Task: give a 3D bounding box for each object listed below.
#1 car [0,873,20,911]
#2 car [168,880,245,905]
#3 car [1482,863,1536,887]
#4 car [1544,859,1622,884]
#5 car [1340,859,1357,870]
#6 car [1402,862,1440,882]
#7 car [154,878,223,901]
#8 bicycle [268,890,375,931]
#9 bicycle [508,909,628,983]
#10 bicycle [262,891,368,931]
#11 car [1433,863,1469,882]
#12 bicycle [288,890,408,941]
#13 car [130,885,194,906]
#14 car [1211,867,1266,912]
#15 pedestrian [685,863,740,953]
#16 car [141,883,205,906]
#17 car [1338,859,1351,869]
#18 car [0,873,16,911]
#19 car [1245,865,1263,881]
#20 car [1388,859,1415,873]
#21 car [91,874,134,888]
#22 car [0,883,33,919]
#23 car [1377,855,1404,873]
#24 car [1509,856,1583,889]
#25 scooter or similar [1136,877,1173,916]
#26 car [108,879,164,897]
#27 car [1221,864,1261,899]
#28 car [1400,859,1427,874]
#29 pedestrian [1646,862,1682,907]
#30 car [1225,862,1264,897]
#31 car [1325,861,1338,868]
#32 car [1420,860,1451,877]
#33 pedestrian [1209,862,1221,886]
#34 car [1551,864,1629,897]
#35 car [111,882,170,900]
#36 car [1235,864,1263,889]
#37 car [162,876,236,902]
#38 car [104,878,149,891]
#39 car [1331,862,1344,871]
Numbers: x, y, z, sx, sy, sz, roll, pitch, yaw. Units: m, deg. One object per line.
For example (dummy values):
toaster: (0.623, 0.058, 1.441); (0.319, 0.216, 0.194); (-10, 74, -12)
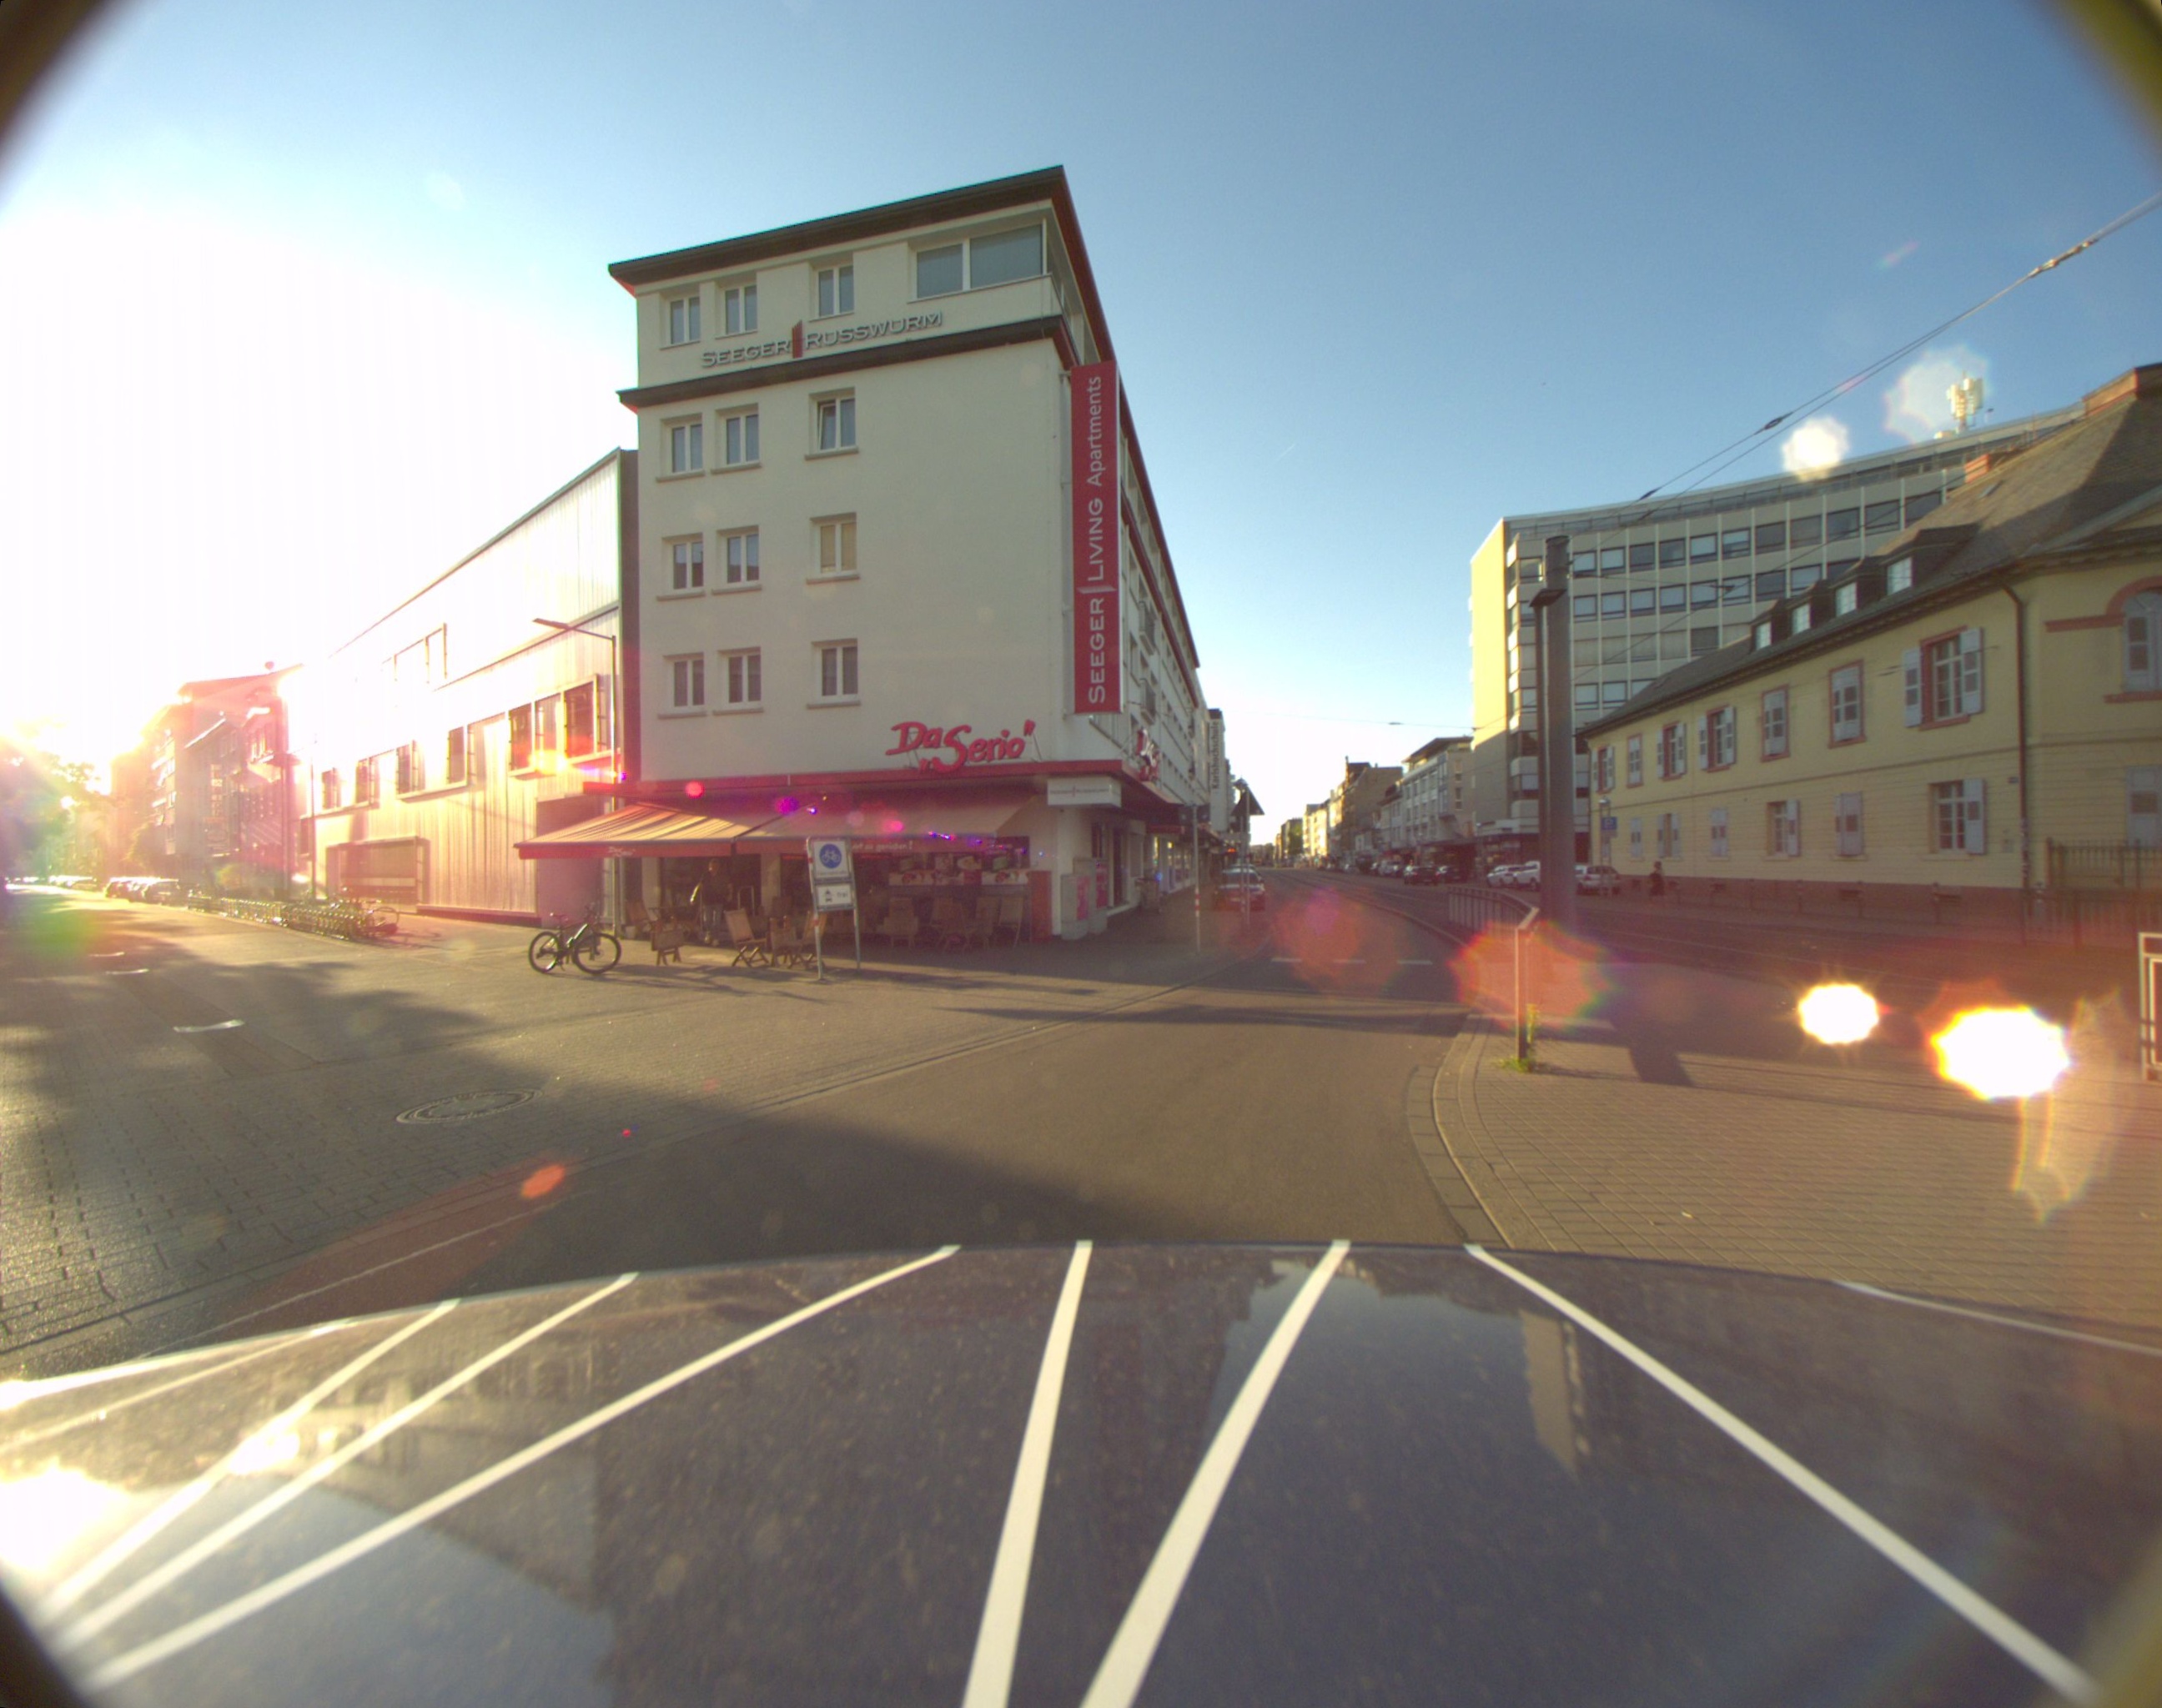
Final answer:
car: (-59.471, 2.093, 39.858); (1.843, 2.001, 4.003); (-2, -1, 8)
car: (-48.358, 2.125, 42.056); (1.445, 1.239, 2.694); (-3, -1, 38)
car: (27.341, 1.305, 48.678); (1.723, 1.444, 4.288); (-3, -1, 12)
car: (34.302, 1.168, 52.056); (3.994, 1.544, 1.916); (-3, 0, 11)
car: (43.711, 1.694, 124.226); (1.894, 1.547, 4.627); (-3, -1, 13)
car: (25.311, 1.313, 56.727); (1.769, 1.368, 4.227); (-1, 0, 12)
car: (-55.226, 2.189, 47.053); (1.445, 1.239, 2.694); (-3, -1, 38)
bicycle: (-24.415, 1.801, 24.477); (0.527, 1.138, 2.348); (-2, 0, 30)
bicycle: (-8.641, 1.533, 12.798); (1.907, 1.152, 0.537); (-1, 0, 15)
bicycle: (-24.913, 1.827, 24.777); (0.527, 1.133, 2.348); (-3, -1, 30)
car: (30.114, 1.484, 61.961); (1.694, 1.417, 3.970); (-3, -1, 13)
bicycle: (-20.839, 1.722, 21.684); (0.604, 1.225, 2.348); (-1, 1, 30)
car: (-62.147, 2.788, 51.418); (1.346, 1.239, 2.694); (-3, -1, 38)
car: (5.882, 1.263, 28.338); (1.793, 1.404, 4.692); (-3, -1, 12)
pedestrian: (-7.808, 1.120, 16.131); (0.715, 1.815, 0.762); (-2, 1, 1)
car: (-59.553, 2.648, 49.841); (1.295, 1.292, 2.591); (-3, -1, 36)
car: (44.513, 1.739, 128.432); (1.658, 1.561, 3.474); (-3, -1, 13)
car: (-56.971, 1.993, 37.899); (1.864, 1.965, 4.003); (-2, -1, 8)
car: (17.070, 1.824, 74.928); (1.657, 1.454, 4.027); (-3, -1, 13)
car: (34.985, 1.279, 83.066); (1.875, 1.418, 4.575); (-3, -1, 13)
car: (-101.881, 2.854, 79.955); (1.262, 1.271, 2.694); (-3, -1, 35)
car: (-41.557, 1.780, 27.344); (1.999, 1.337, 4.153); (-1, -1, -2)
car: (36.754, 1.167, 90.223); (1.967, 2.001, 5.105); (-2, -1, 11)
car: (25.838, 1.005, 42.385); (1.890, 1.651, 4.765); (-2, -1, 11)
scooter or similar: (2.352, 1.347, 24.395); (0.336, 1.187, 1.435); (0, -1, -34)
car: (-74.641, 2.677, 60.039); (1.400, 1.239, 2.694); (-3, -1, 35)
car: (7.433, 1.239, 35.207); (1.654, 1.412, 4.195); (-3, -1, 13)
car: (33.539, 1.269, 76.776); (1.793, 1.452, 4.096); (0, -1, 14)
pedestrian: (20.121, 1.057, 26.240); (0.720, 1.527, 0.719); (0, 0, 8)
car: (8.787, 1.335, 40.847); (1.859, 1.690, 4.422); (-3, -1, 12)
car: (51.498, 2.168, 156.200); (1.997, 1.411, 4.408); (-3, -1, 10)
car: (31.438, 1.265, 67.490); (1.694, 1.426, 3.596); (-1, -1, 12)
pedestrian: (9.057, 1.333, 51.247); (0.734, 1.564, 0.968); (-1, 0, 12)
car: (24.793, 1.272, 37.153); (1.751, 1.465, 4.005); (-3, -1, 12)
car: (-70.771, 2.784, 57.203); (1.445, 1.239, 2.694); (-3, -1, 35)
car: (11.922, 1.563, 53.952); (1.795, 1.524, 4.861); (-3, -1, 12)
car: (-51.160, 2.037, 44.096); (1.445, 1.351, 2.694); (-3, -1, 38)
car: (-93.117, 2.978, 74.136); (1.445, 1.239, 2.694); (-1, -1, 35)
car: (48.772, 2.331, 144.513); (1.844, 1.484, 3.820); (-3, -1, 13)
